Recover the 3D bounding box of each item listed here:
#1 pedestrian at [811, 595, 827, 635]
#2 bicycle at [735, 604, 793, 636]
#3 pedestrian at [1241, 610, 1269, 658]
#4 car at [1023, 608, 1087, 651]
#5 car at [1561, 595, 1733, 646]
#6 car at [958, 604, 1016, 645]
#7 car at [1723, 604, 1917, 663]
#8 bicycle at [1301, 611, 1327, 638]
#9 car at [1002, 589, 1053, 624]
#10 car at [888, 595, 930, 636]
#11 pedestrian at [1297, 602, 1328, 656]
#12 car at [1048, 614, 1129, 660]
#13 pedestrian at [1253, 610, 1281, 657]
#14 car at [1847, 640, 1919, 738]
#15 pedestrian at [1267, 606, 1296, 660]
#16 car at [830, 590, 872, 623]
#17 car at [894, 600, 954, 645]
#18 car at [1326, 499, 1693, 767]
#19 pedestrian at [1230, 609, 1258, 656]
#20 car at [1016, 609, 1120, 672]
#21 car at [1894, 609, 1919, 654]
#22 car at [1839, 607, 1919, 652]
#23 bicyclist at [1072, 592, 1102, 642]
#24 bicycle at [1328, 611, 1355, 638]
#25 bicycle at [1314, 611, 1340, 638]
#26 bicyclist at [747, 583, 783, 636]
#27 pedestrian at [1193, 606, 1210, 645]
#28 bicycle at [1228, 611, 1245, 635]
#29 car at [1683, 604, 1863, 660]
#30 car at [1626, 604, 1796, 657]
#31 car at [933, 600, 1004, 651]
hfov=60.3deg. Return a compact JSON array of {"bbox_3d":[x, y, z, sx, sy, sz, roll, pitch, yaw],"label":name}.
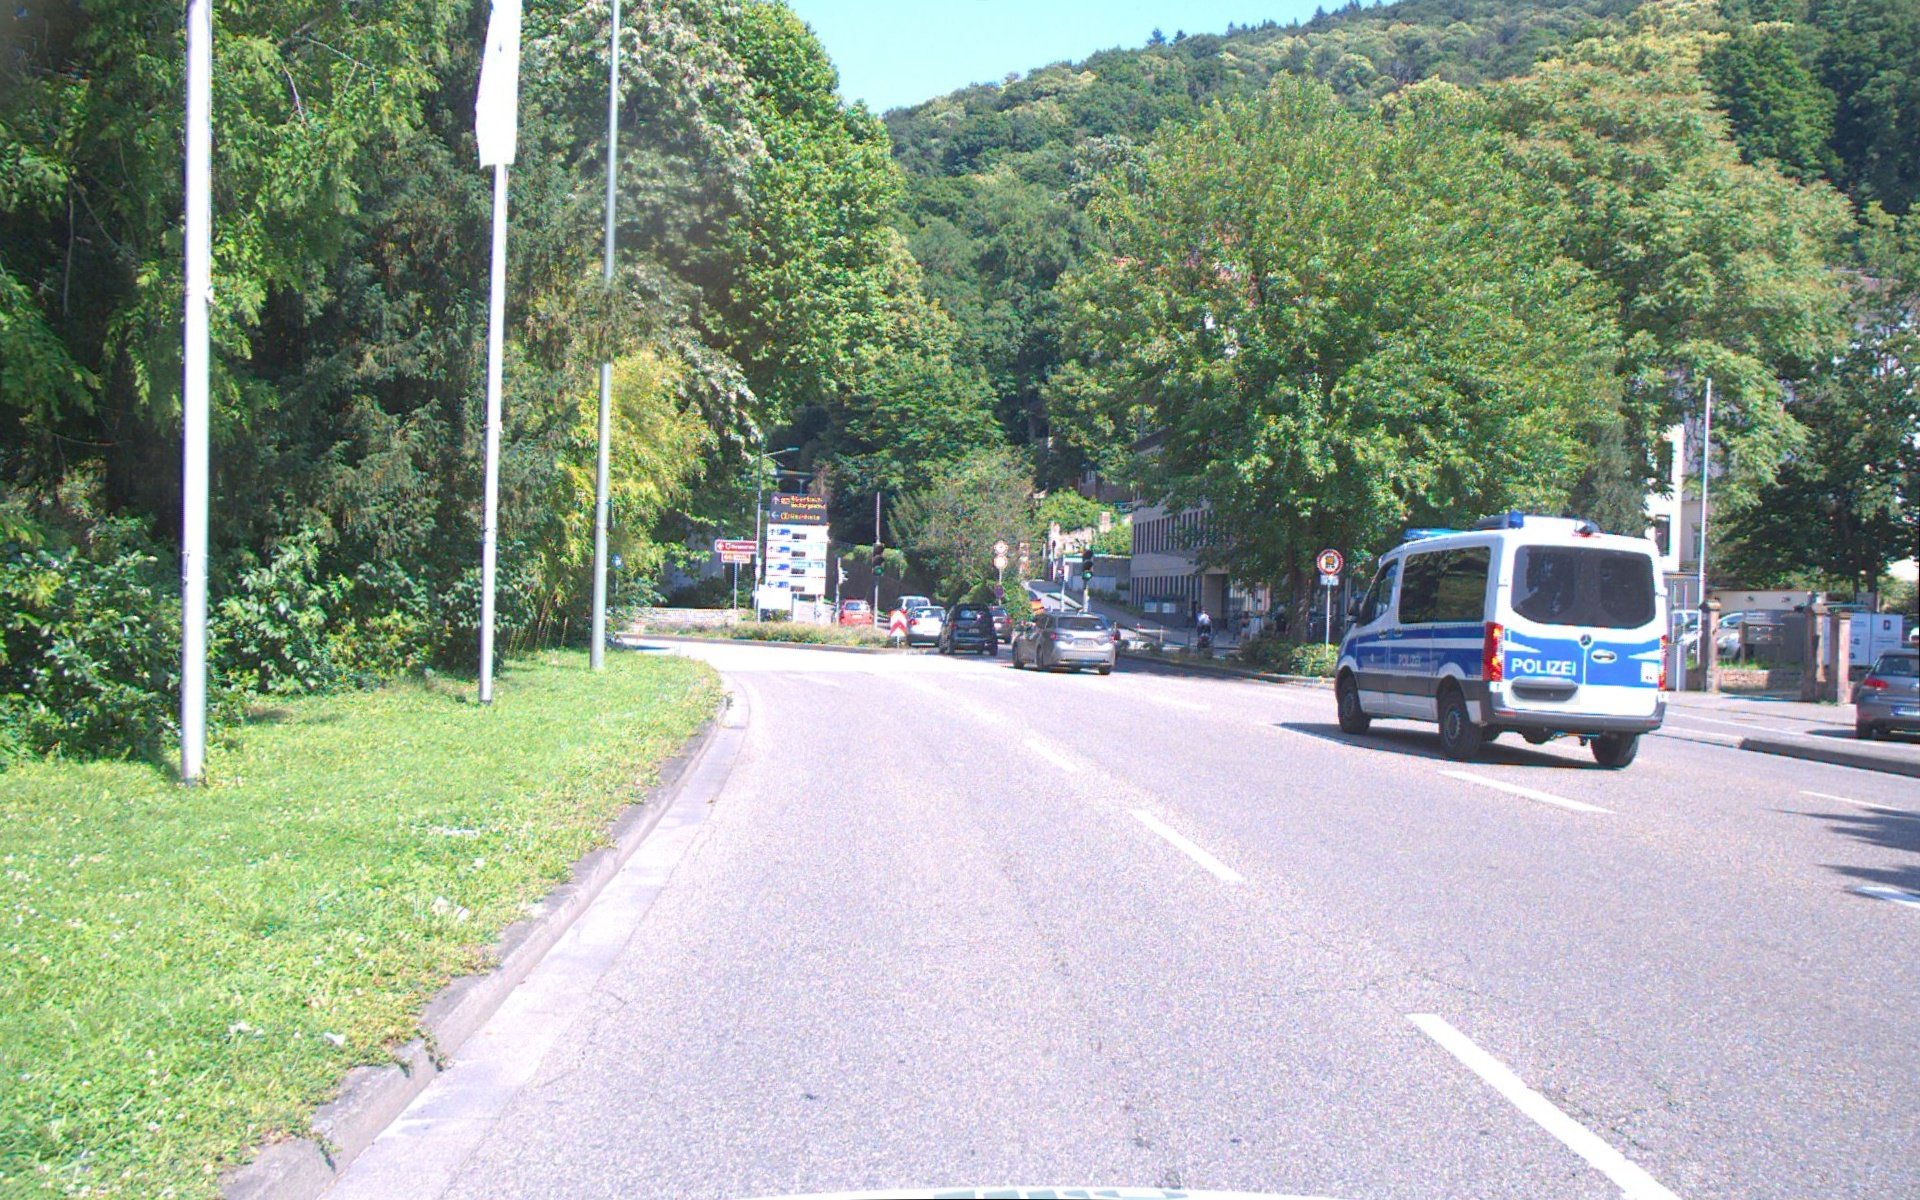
[{"bbox_3d":[-5.883,0.615,69.085,0.535,1.649,0.634,1,0,2],"label":"pedestrian"},{"bbox_3d":[-7.484,0.772,63.225,2.033,1.132,0.757,2,0,17],"label":"bicycle"},{"bbox_3d":[10.620,1.207,59.585,0.756,1.692,0.828,2,0,-7],"label":"pedestrian"},{"bbox_3d":[3.537,1.095,62.166,1.723,1.486,3.488,2,0,-8],"label":"car"},{"bbox_3d":[20.154,0.599,48.613,4.385,1.359,1.817,1,0,-10],"label":"car"},{"bbox_3d":[1.048,0.963,65.844,1.723,1.486,3.639,2,0,-8],"label":"car"},{"bbox_3d":[21.680,0.836,41.754,3.967,1.359,1.987,1,0,-10],"label":"car"},{"bbox_3d":[15.052,1.028,70.359,0.527,1.104,1.833,1,0,-6],"label":"bicycle"},{"bbox_3d":[3.402,0.329,83.897,1.895,1.727,3.993,1,0,-8],"label":"car"},{"bbox_3d":[-2.636,0.747,84.291,1.723,1.972,3.488,2,0,-8],"label":"car"},{"bbox_3d":[12.545,1.038,58.875,0.757,1.886,0.828,2,0,-9],"label":"pedestrian"},{"bbox_3d":[3.884,1.113,50.407,1.723,1.234,3.488,2,0,-8],"label":"car"},{"bbox_3d":[11.231,1.225,60.462,0.756,1.692,0.828,2,0,-6],"label":"pedestrian"},{"bbox_3d":[16.063,1.456,27.488,1.791,1.487,4.091,2,0,36],"label":"car"},{"bbox_3d":[11.542,1.169,59.387,0.756,1.886,0.828,2,0,-8],"label":"pedestrian"},{"bbox_3d":[-5.298,0.283,79.951,1.723,1.486,3.488,2,0,-8],"label":"car"},{"bbox_3d":[-1.330,0.792,60.069,1.723,1.486,3.639,2,0,-8],"label":"car"},{"bbox_3d":[5.954,0.341,18.706,2.033,2.552,4.922,2,-1,-6],"label":"car"},{"bbox_3d":[10.433,1.194,60.786,0.756,1.692,0.828,2,0,-7],"label":"pedestrian"},{"bbox_3d":[2.553,0.936,39.823,1.723,1.357,3.794,2,0,-8],"label":"car"},{"bbox_3d":[31.402,1.025,51.294,4.002,1.359,1.817,1,0,-10],"label":"car"},{"bbox_3d":[30.895,0.967,53.609,3.967,1.359,1.817,1,0,-10],"label":"car"},{"bbox_3d":[5.067,0.682,66.017,1.102,1.966,0.748,2,-1,5],"label":"bicyclist"},{"bbox_3d":[16.230,1.053,70.434,0.527,1.104,1.833,1,0,-6],"label":"bicycle"},{"bbox_3d":[15.602,1.040,70.374,0.527,1.104,1.833,1,0,-6],"label":"bicycle"},{"bbox_3d":[-7.436,0.354,63.233,1.102,1.966,0.748,2,-1,17],"label":"bicyclist"},{"bbox_3d":[9.373,0.982,64.169,0.479,1.483,0.734,1,-1,-3],"label":"pedestrian"},{"bbox_3d":[12.635,1.048,75.494,0.397,1.030,1.339,1,0,-7],"label":"bicycle"},{"bbox_3d":[21.582,0.850,43.969,3.967,1.359,1.856,1,0,-10],"label":"car"},{"bbox_3d":[20.934,0.850,46.149,4.010,1.359,1.817,1,0,-10],"label":"car"},{"bbox_3d":[0.238,0.772,52.605,1.723,1.486,3.488,2,0,-8],"label":"car"}]
